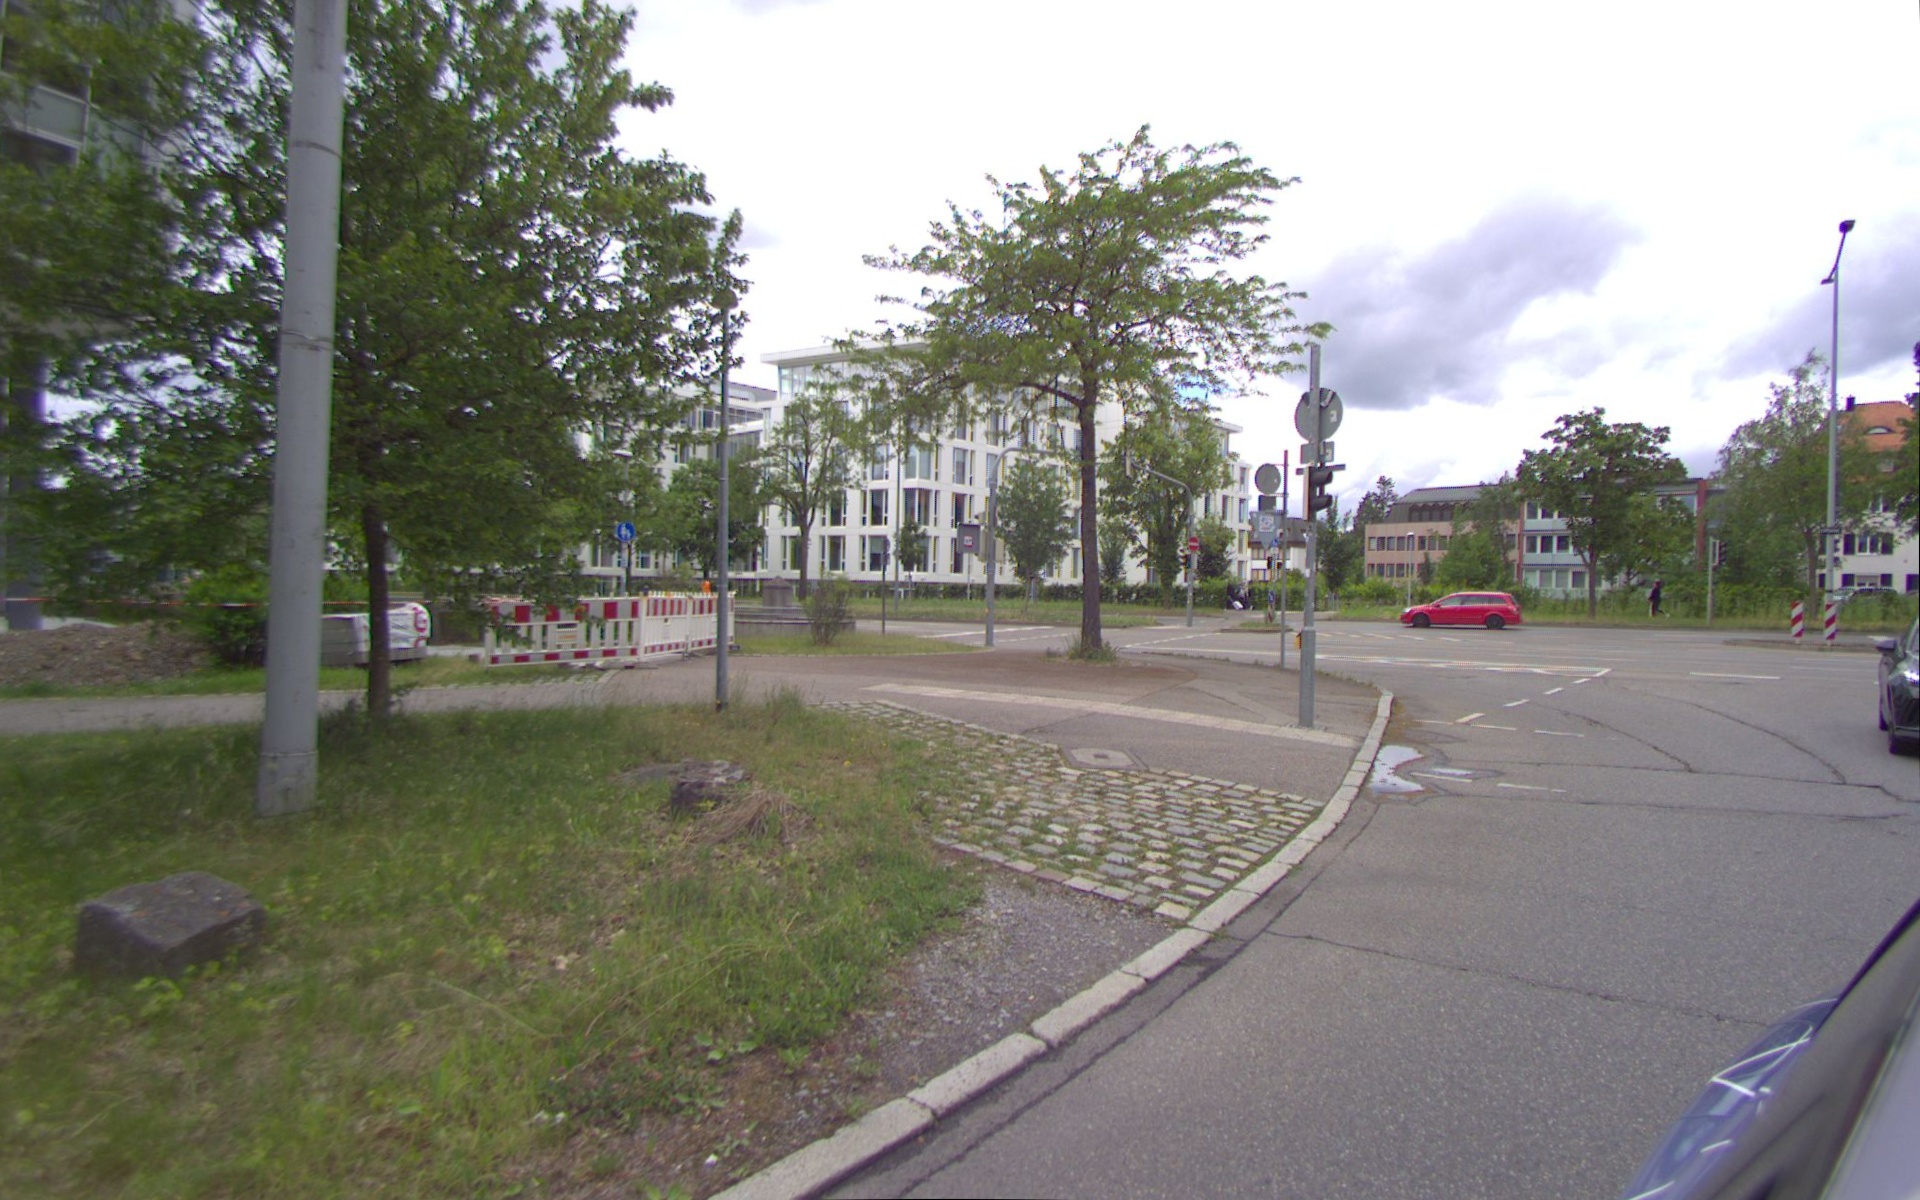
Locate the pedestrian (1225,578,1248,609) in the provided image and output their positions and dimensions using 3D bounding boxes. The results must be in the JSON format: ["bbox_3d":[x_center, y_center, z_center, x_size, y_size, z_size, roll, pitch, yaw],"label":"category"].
[{"bbox_3d":[14.943,-0.364,54.742,0.718,1.647,1.036,1,-2,-26],"label":"pedestrian"}]

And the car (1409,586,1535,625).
[{"bbox_3d":[20.480,0.189,40.527,4.327,1.441,1.975,1,1,35],"label":"car"}]

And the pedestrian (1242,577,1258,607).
[{"bbox_3d":[16.001,-0.443,55.812,0.675,1.647,0.661,0,-2,0],"label":"pedestrian"}]

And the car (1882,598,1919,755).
[{"bbox_3d":[11.116,0.748,10.691,1.793,1.502,3.962,-1,-1,39],"label":"car"}]

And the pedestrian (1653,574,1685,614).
[{"bbox_3d":[30.466,-0.257,43.499,0.992,1.717,0.603,-1,-2,25],"label":"pedestrian"}]

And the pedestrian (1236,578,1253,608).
[{"bbox_3d":[15.496,-0.372,55.158,0.554,1.647,0.709,1,-2,-26],"label":"pedestrian"}]

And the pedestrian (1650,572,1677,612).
[{"bbox_3d":[30.688,-0.334,44.144,0.823,1.717,0.611,-1,-2,25],"label":"pedestrian"}]
